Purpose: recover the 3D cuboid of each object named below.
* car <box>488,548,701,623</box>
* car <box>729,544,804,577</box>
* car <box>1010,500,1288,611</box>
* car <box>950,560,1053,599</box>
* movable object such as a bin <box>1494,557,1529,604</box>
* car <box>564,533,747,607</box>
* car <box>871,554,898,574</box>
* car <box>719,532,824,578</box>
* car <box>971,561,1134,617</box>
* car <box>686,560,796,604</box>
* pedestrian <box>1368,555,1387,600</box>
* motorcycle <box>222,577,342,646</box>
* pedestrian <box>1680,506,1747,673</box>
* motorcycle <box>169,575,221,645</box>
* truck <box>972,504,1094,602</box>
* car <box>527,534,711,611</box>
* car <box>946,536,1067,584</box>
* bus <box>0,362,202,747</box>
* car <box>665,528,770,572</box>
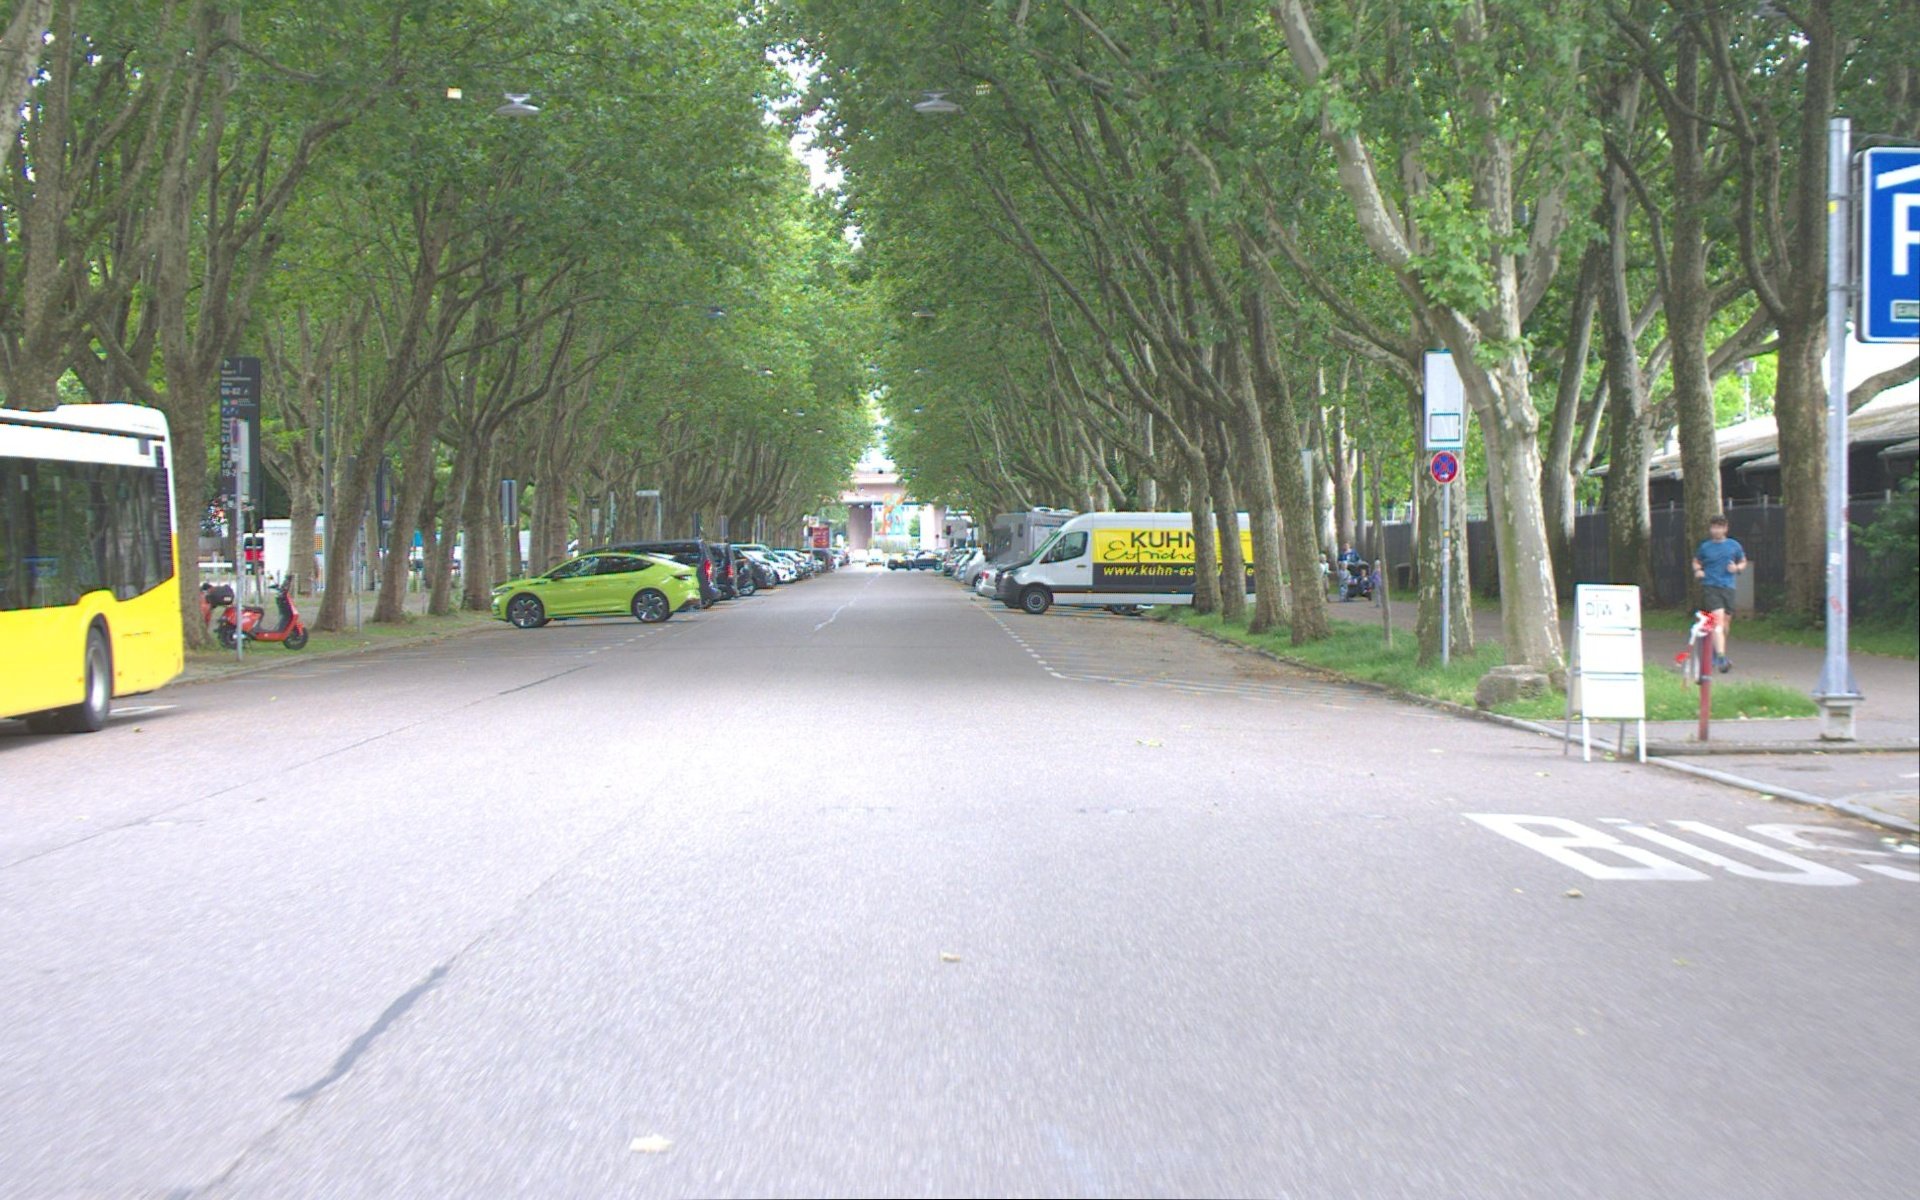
[{"bbox_3d":[-8.131,-0.328,76.709,4.516,1.612,1.758,0,1,2],"label":"car"},{"bbox_3d":[-10.121,-2.068,179.686,3.826,1.622,1.953,-2,1,-3],"label":"car"},{"bbox_3d":[4.720,-1.120,86.607,6.881,2.686,2.127,1,0,1],"label":"car"},{"bbox_3d":[1.684,-0.833,140.501,4.119,1.424,1.703,3,0,1],"label":"car"},{"bbox_3d":[11.979,-0.423,74.683,0.568,0.956,0.675,-5,1,-1],"label":"movable object such as a bin"},{"bbox_3d":[-8.512,-0.842,96.445,4.905,1.917,2.208,-2,1,0],"label":"car"},{"bbox_3d":[-5.365,-2.533,243.800,1.654,1.359,4.113,-3,1,-4],"label":"car"},{"bbox_3d":[-8.932,-2.143,163.107,4.893,2.012,1.920,-2,0,-1],"label":"car"},{"bbox_3d":[2.529,-0.312,93.065,4.359,1.440,1.612,1,0,3],"label":"car"},{"bbox_3d":[-8.905,-0.739,140.083,4.379,1.591,2.000,-2,1,-2],"label":"car"},{"bbox_3d":[10.157,-0.545,83.585,0.395,1.080,0.419,-2,0,3],"label":"pedestrian"},{"bbox_3d":[-11.571,0.191,58.721,0.574,1.154,2.072,1,1,42],"label":"motorcycle"},{"bbox_3d":[9.215,-0.131,42.082,0.709,2.007,0.881,1,0,8],"label":"pedestrian"},{"bbox_3d":[-13.005,0.165,58.387,0.573,1.154,2.078,1,1,-20],"label":"motorcycle"},{"bbox_3d":[2.233,-1.470,107.930,2.457,2.928,7.540,1,1,-9],"label":"truck"},{"bbox_3d":[-9.051,-0.736,91.471,4.761,1.917,2.018,-2,1,-5],"label":"car"},{"bbox_3d":[1.709,-1.460,125.503,4.340,1.612,1.803,2,1,2],"label":"car"},{"bbox_3d":[-9.154,-0.322,28.667,2.651,3.144,12.369,-3,1,1],"label":"bus"},{"bbox_3d":[-10.415,-2.141,147.885,4.340,1.662,2.000,-3,1,-2],"label":"car"}]
